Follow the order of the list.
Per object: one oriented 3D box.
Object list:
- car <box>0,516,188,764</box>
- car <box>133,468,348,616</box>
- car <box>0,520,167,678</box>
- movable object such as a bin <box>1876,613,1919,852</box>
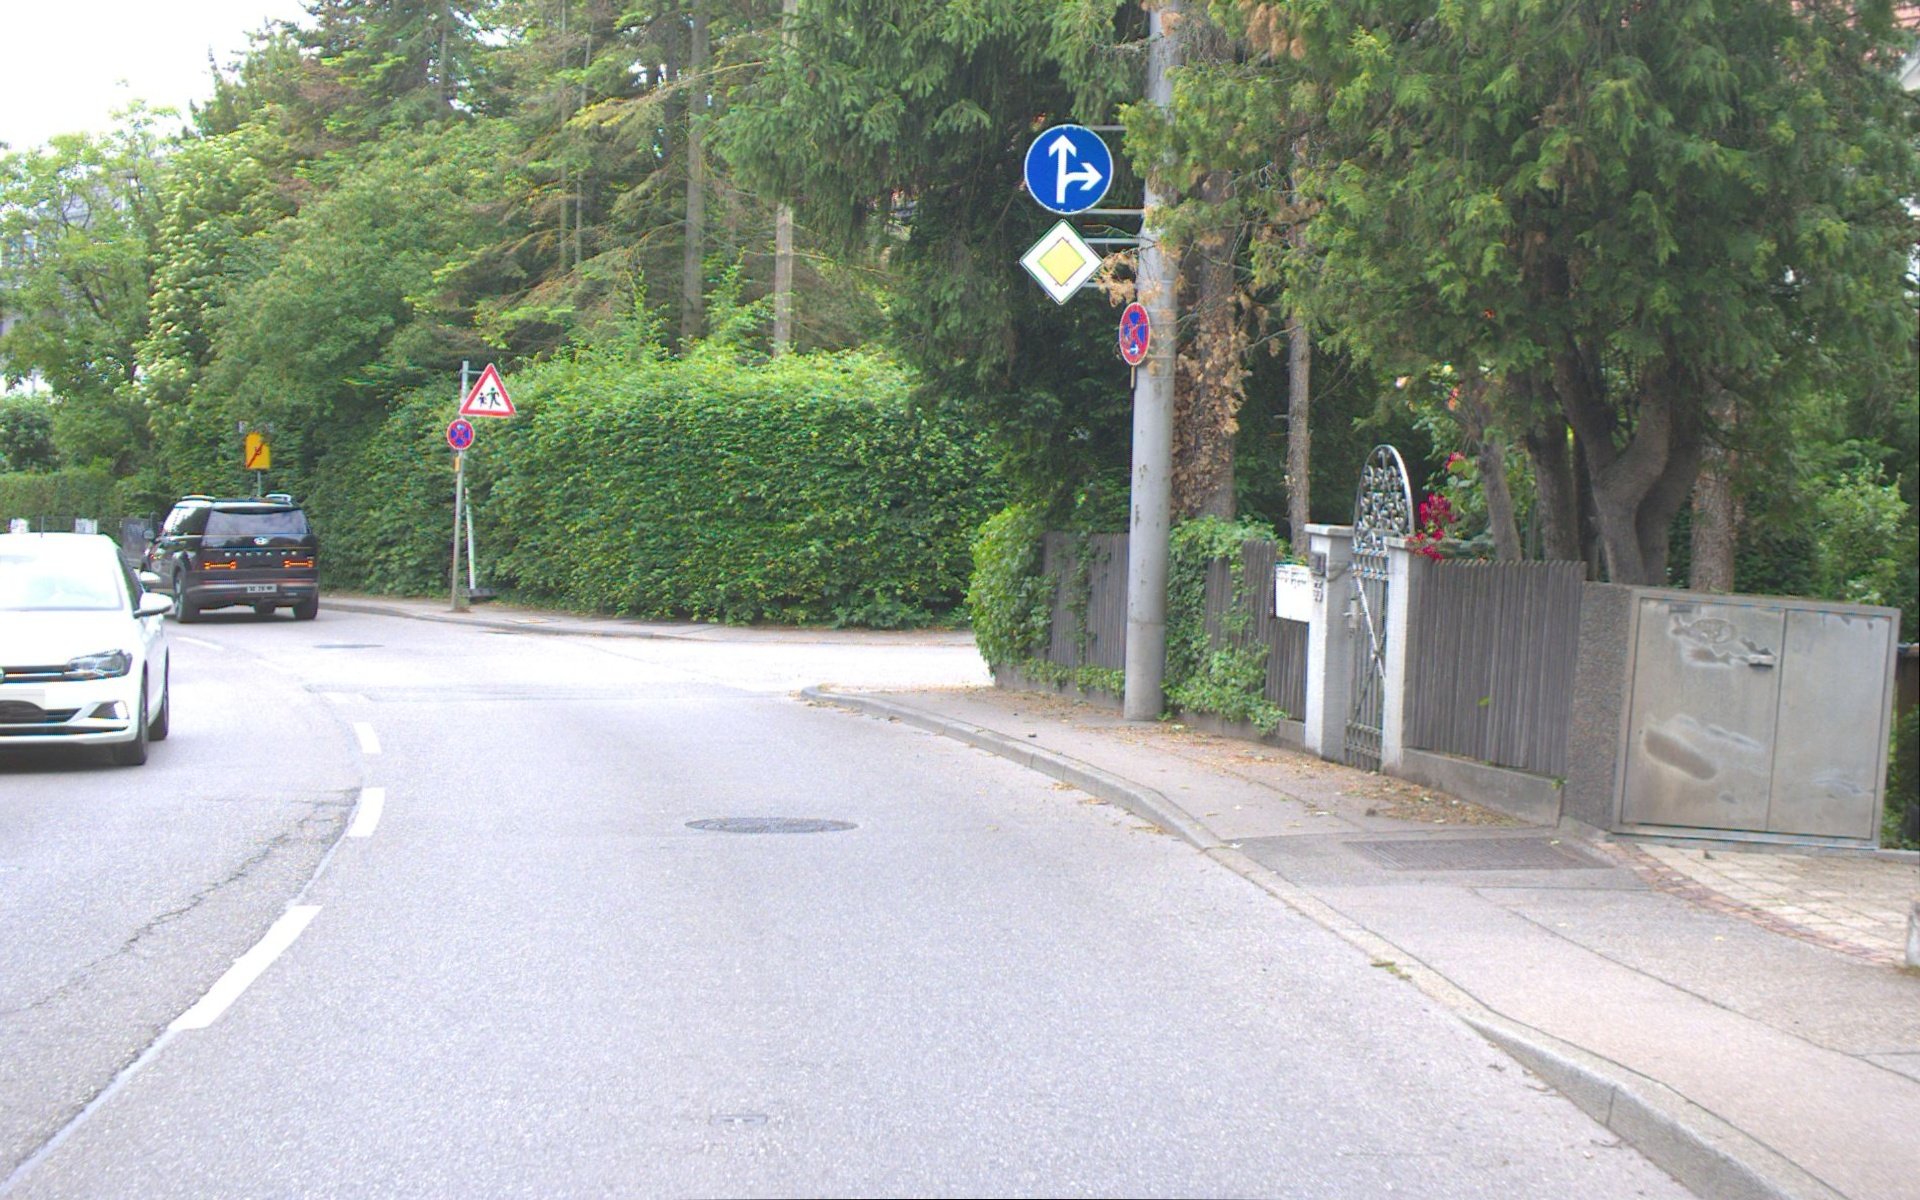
[{"bbox_3d":[-6.228,0.214,22.537,1.902,1.449,3.798,-2,2,-8],"label":"car"},{"bbox_3d":[-10.226,-0.843,48.631,1.993,1.875,4.001,1,3,-26],"label":"car"},{"bbox_3d":[-8.650,-0.056,33.045,1.912,1.393,3.910,0,2,-12],"label":"car"},{"bbox_3d":[4.701,0.602,15.783,0.777,1.045,0.783,1,2,2],"label":"movable object such as a bin"}]
